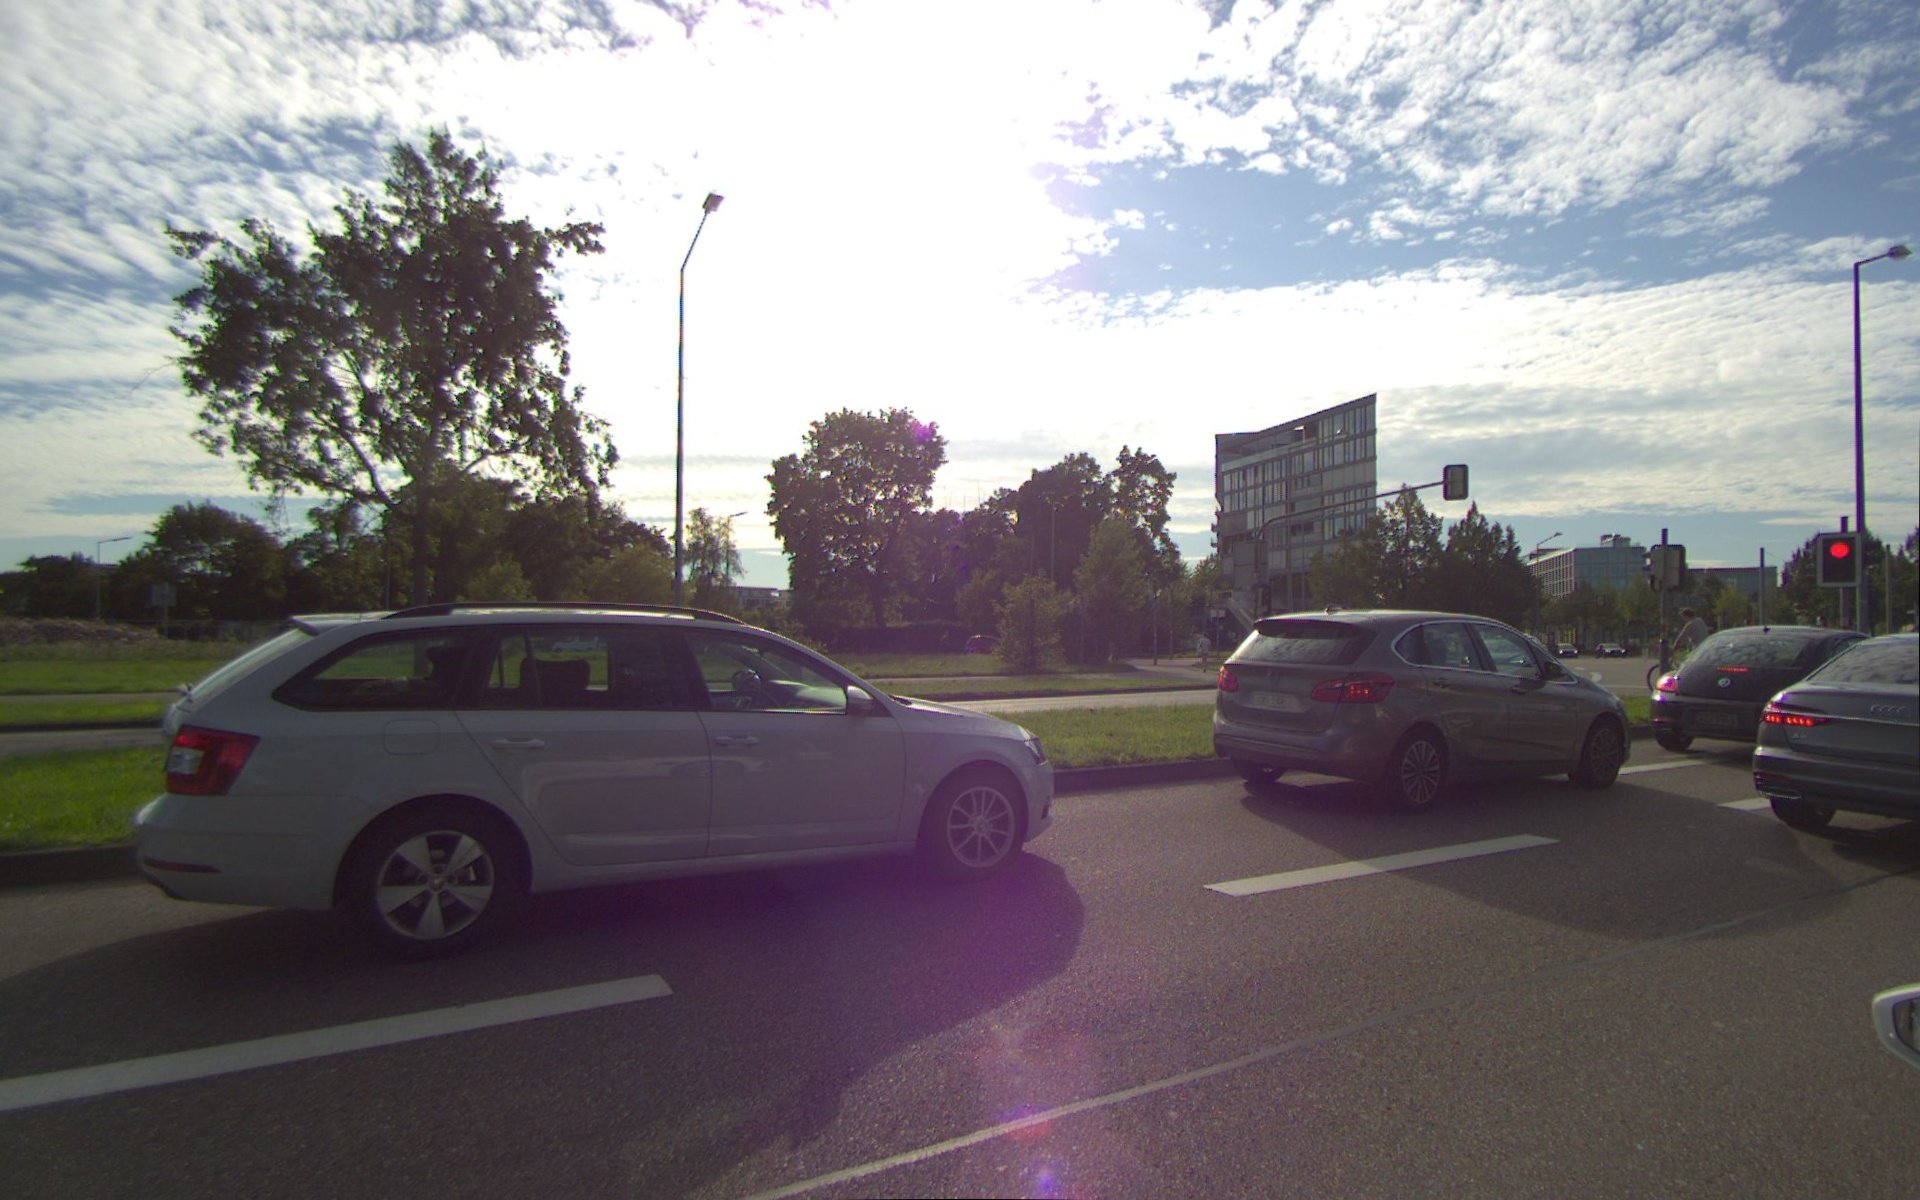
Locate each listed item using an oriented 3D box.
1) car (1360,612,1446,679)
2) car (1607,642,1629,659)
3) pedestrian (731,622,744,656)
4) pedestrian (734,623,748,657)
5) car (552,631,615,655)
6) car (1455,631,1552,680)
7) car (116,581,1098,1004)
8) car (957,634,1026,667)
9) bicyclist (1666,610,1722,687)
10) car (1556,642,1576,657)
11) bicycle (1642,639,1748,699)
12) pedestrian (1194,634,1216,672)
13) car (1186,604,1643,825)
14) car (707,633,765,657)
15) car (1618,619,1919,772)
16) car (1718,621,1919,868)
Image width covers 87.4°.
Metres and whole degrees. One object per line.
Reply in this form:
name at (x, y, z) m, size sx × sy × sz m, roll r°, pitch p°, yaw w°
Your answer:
car at (16.399, 1.696, 36.995) m, size 1.966 × 2.264 × 5.910 m, roll -2°, pitch -4°, yaw 33°
car at (59.893, 4.604, 91.362) m, size 1.593 × 1.484 × 3.720 m, roll -1°, pitch -2°, yaw 34°
pedestrian at (-13.307, 2.342, 60.056) m, size 0.675 × 2.040 × 0.641 m, roll 0°, pitch -2°, yaw -5°
pedestrian at (-13.273, 2.404, 60.992) m, size 0.723 × 2.040 × 0.739 m, roll 0°, pitch -2°, yaw -6°
car at (-28.799, 3.265, 76.831) m, size 4.045 × 1.770 × 2.002 m, roll 0°, pitch -2°, yaw 10°
car at (17.321, 1.787, 31.923) m, size 1.878 × 1.428 × 4.188 m, roll -4°, pitch -5°, yaw 39°
car at (-1.524, 0.761, 5.479) m, size 4.429 × 1.518 × 1.690 m, roll 2°, pitch -1°, yaw -31°
car at (1.980, 3.098, 62.283) m, size 3.919 × 1.793 × 1.712 m, roll 2°, pitch -1°, yaw 13°
bicyclist at (15.341, 1.006, 20.984) m, size 0.840 × 1.546 × 0.736 m, roll -2°, pitch -3°, yaw 44°
car at (58.506, 4.789, 96.931) m, size 1.570 × 1.433 × 3.661 m, roll -1°, pitch -2°, yaw 33°
bicycle at (15.334, 1.422, 20.979) m, size 1.707 × 1.179 × 0.652 m, roll -1°, pitch -2°, yaw 45°
pedestrian at (10.330, 2.230, 42.322) m, size 0.610 × 1.589 × 0.650 m, roll 2°, pitch -2°, yaw -37°
car at (4.098, 0.872, 8.931) m, size 3.971 × 1.579 × 1.721 m, roll 2°, pitch -1°, yaw -30°
car at (-15.060, 3.032, 67.616) m, size 3.431 × 1.613 × 1.594 m, roll 0°, pitch -2°, yaw 17°
car at (9.714, 1.036, 11.962) m, size 3.766 × 1.543 × 1.672 m, roll 1°, pitch -1°, yaw -31°
car at (7.808, 0.963, 7.469) m, size 4.559 × 1.502 × 1.881 m, roll 2°, pitch -1°, yaw -31°
